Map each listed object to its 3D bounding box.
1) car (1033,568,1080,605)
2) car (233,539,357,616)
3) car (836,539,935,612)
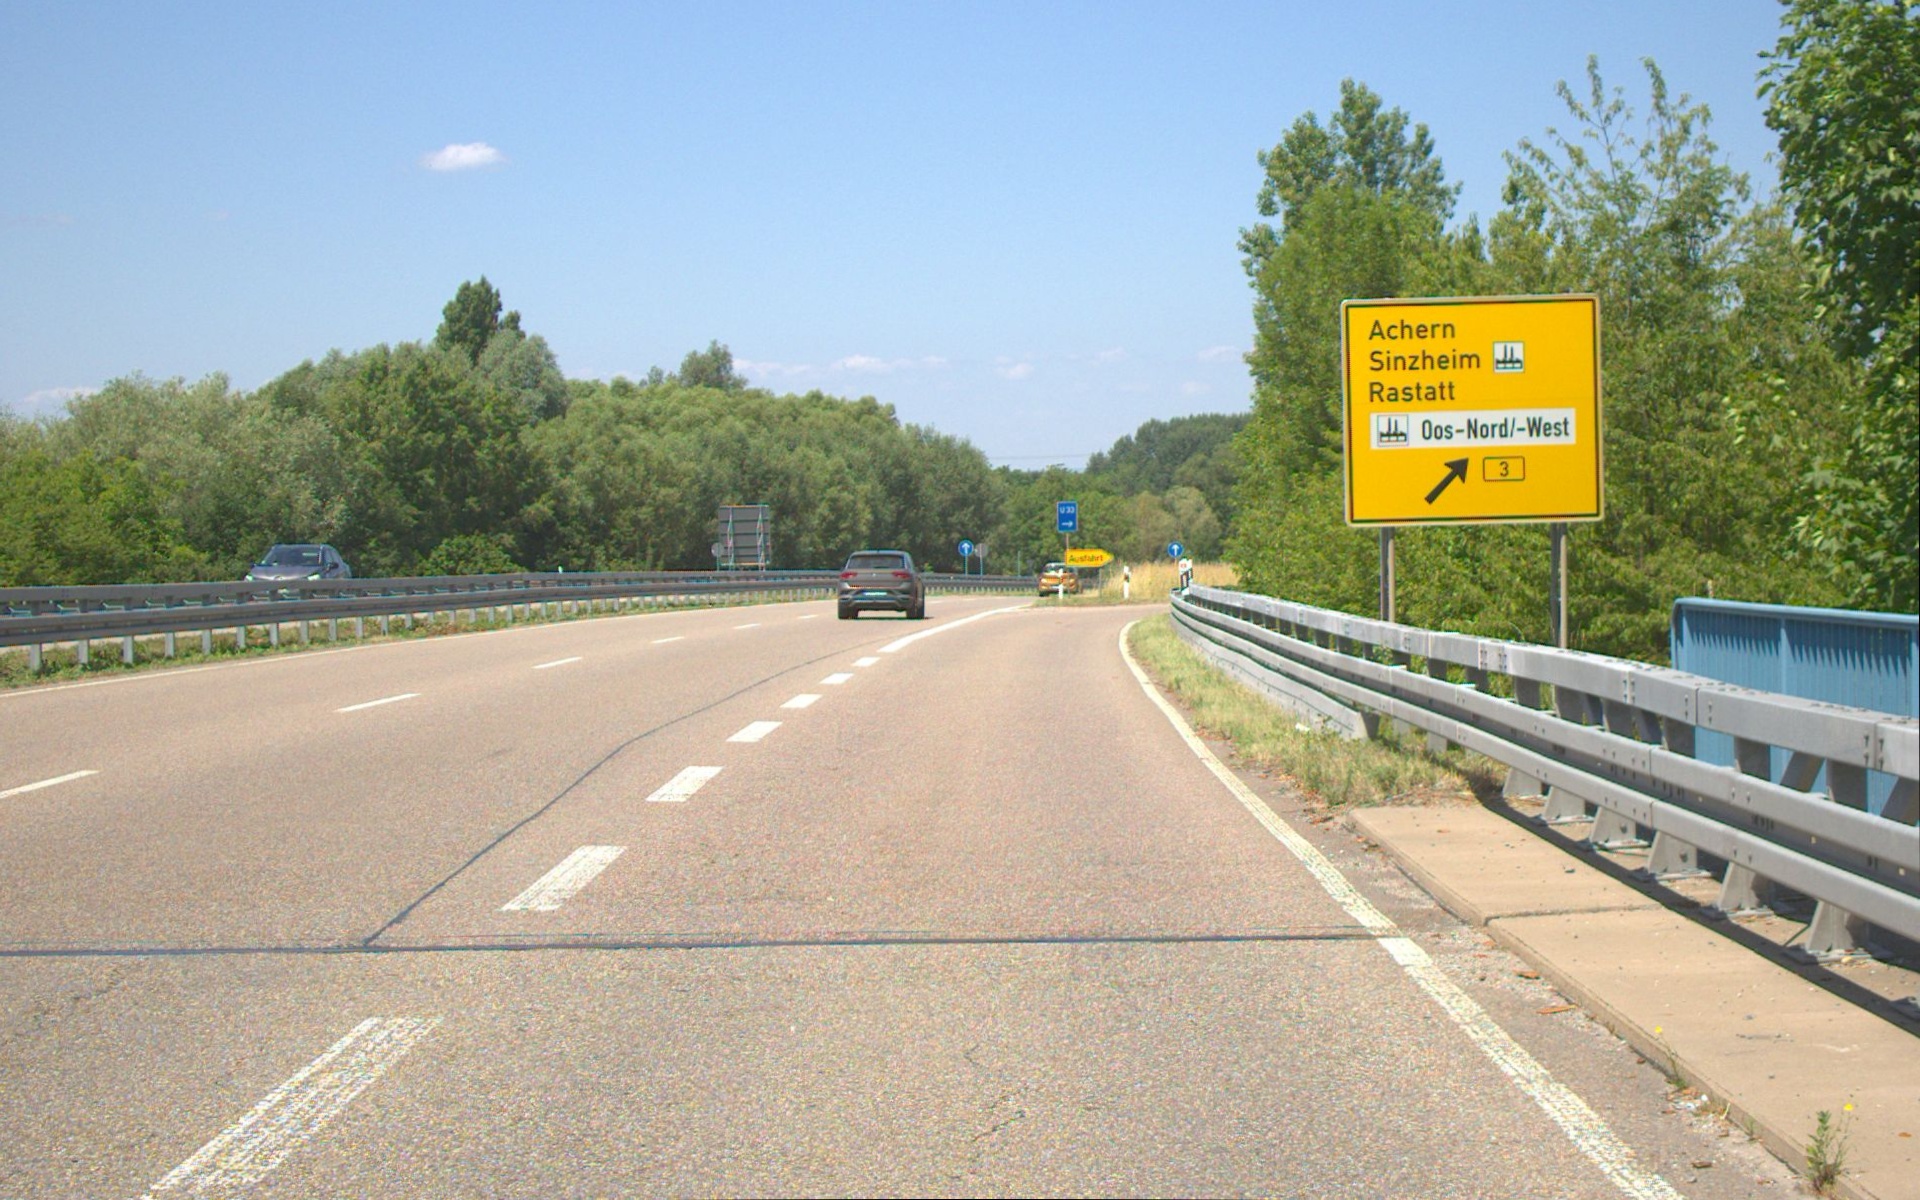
[{"bbox_3d":[4.223,-0.586,149.509,1.841,1.459,4.000,1,2,4],"label":"car"},{"bbox_3d":[-14.684,-0.501,76.076,1.825,1.642,4.189,0,1,1],"label":"car"},{"bbox_3d":[-1.682,-0.583,78.727,1.841,1.524,4.469,1,2,4],"label":"car"}]
